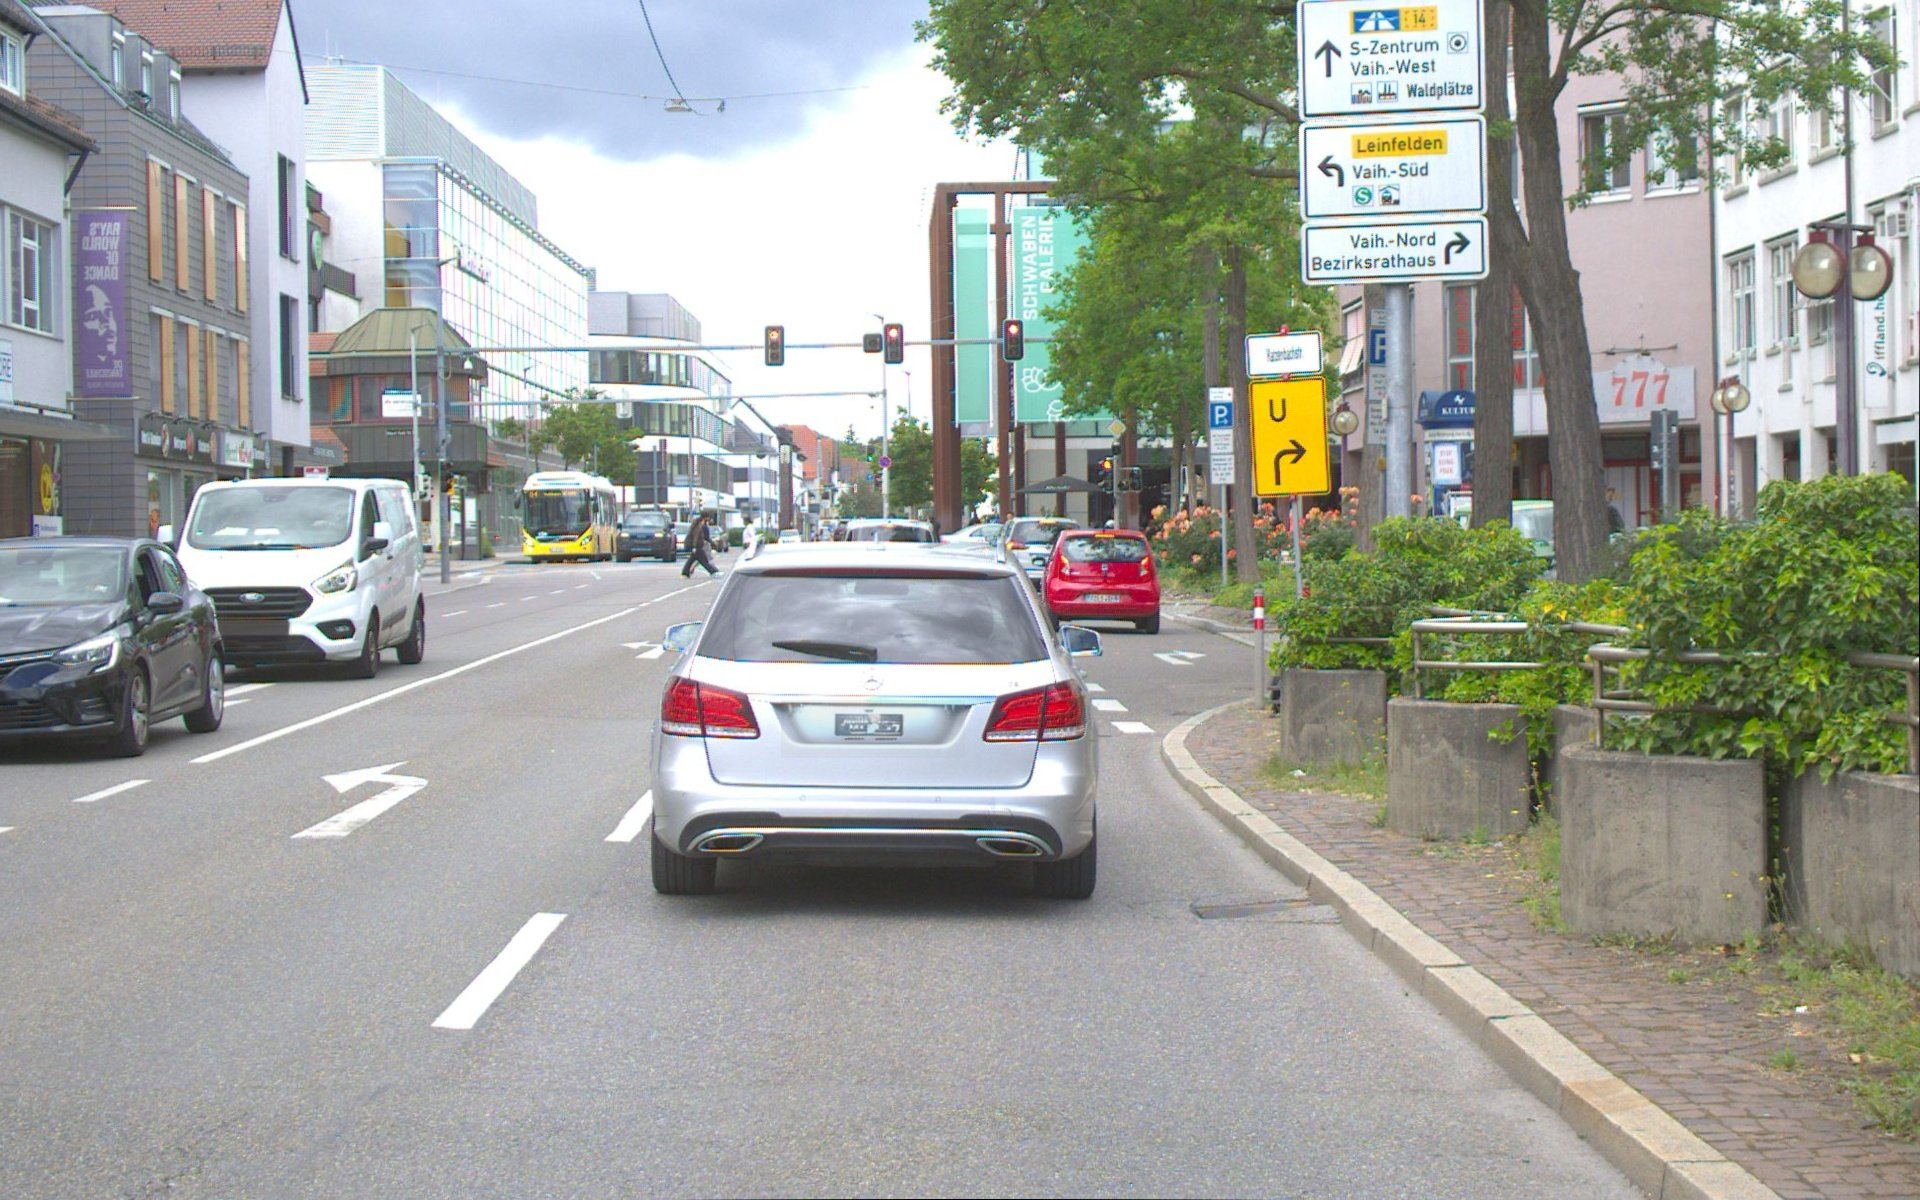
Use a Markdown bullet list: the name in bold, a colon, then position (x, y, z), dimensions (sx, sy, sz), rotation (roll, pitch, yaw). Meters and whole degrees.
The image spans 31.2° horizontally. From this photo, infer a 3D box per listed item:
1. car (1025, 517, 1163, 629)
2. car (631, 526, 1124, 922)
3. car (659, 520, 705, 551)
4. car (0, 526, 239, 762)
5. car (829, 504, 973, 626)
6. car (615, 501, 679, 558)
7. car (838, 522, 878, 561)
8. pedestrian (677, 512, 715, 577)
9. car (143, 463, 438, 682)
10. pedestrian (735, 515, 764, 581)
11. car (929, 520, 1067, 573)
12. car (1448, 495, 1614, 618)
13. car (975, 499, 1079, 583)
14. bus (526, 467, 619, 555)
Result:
- **car**: position (1.905, -0.403, 49.918), dimensions (1.754, 1.515, 4.000), rotation (1, 1, -1)
- **car**: position (-0.414, 0.431, 15.086), dimensions (1.874, 1.501, 4.001), rotation (0, 1, -3)
- **car**: position (-11.191, -2.602, 138.488), dimensions (1.575, 1.240, 3.607), rotation (-1, 1, -1)
- **car**: position (-6.044, 0.240, 23.025), dimensions (1.617, 1.423, 3.923), rotation (-1, 1, -1)
- **car**: position (-0.846, -0.532, 49.906), dimensions (1.993, 1.678, 4.000), rotation (-1, 1, -1)
- **car**: position (-11.433, -2.576, 125.668), dimensions (1.993, 2.007, 4.000), rotation (-1, 1, -1)
- **car**: position (-5.283, -3.051, 178.404), dimensions (1.993, 2.007, 4.001), rotation (-1, 1, -1)
- **pedestrian**: position (-6.749, -1.434, 88.011), dimensions (0.857, 1.629, 0.588), rotation (2, 1, 1)
- **car**: position (-6.569, -0.308, 34.305), dimensions (1.961, 1.954, 5.140), rotation (-2, 1, -1)
- **pedestrian**: position (-5.288, -1.307, 86.321), dimensions (0.613, 1.629, 0.588), rotation (2, 1, -10)
- **car**: position (1.146, -1.624, 103.496), dimensions (4.100, 1.536, 1.580), rotation (-1, 1, 0)
- **car**: position (9.054, -0.716, 54.833), dimensions (1.866, 1.858, 4.001), rotation (-1, 1, -2)
- **car**: position (1.357, -1.235, 71.085), dimensions (1.993, 1.678, 4.000), rotation (-1, 1, -1)
- **bus**: position (-14.260, -3.282, 126.876), dimensions (2.775, 3.154, 5.933), rotation (-1, 1, -1)
